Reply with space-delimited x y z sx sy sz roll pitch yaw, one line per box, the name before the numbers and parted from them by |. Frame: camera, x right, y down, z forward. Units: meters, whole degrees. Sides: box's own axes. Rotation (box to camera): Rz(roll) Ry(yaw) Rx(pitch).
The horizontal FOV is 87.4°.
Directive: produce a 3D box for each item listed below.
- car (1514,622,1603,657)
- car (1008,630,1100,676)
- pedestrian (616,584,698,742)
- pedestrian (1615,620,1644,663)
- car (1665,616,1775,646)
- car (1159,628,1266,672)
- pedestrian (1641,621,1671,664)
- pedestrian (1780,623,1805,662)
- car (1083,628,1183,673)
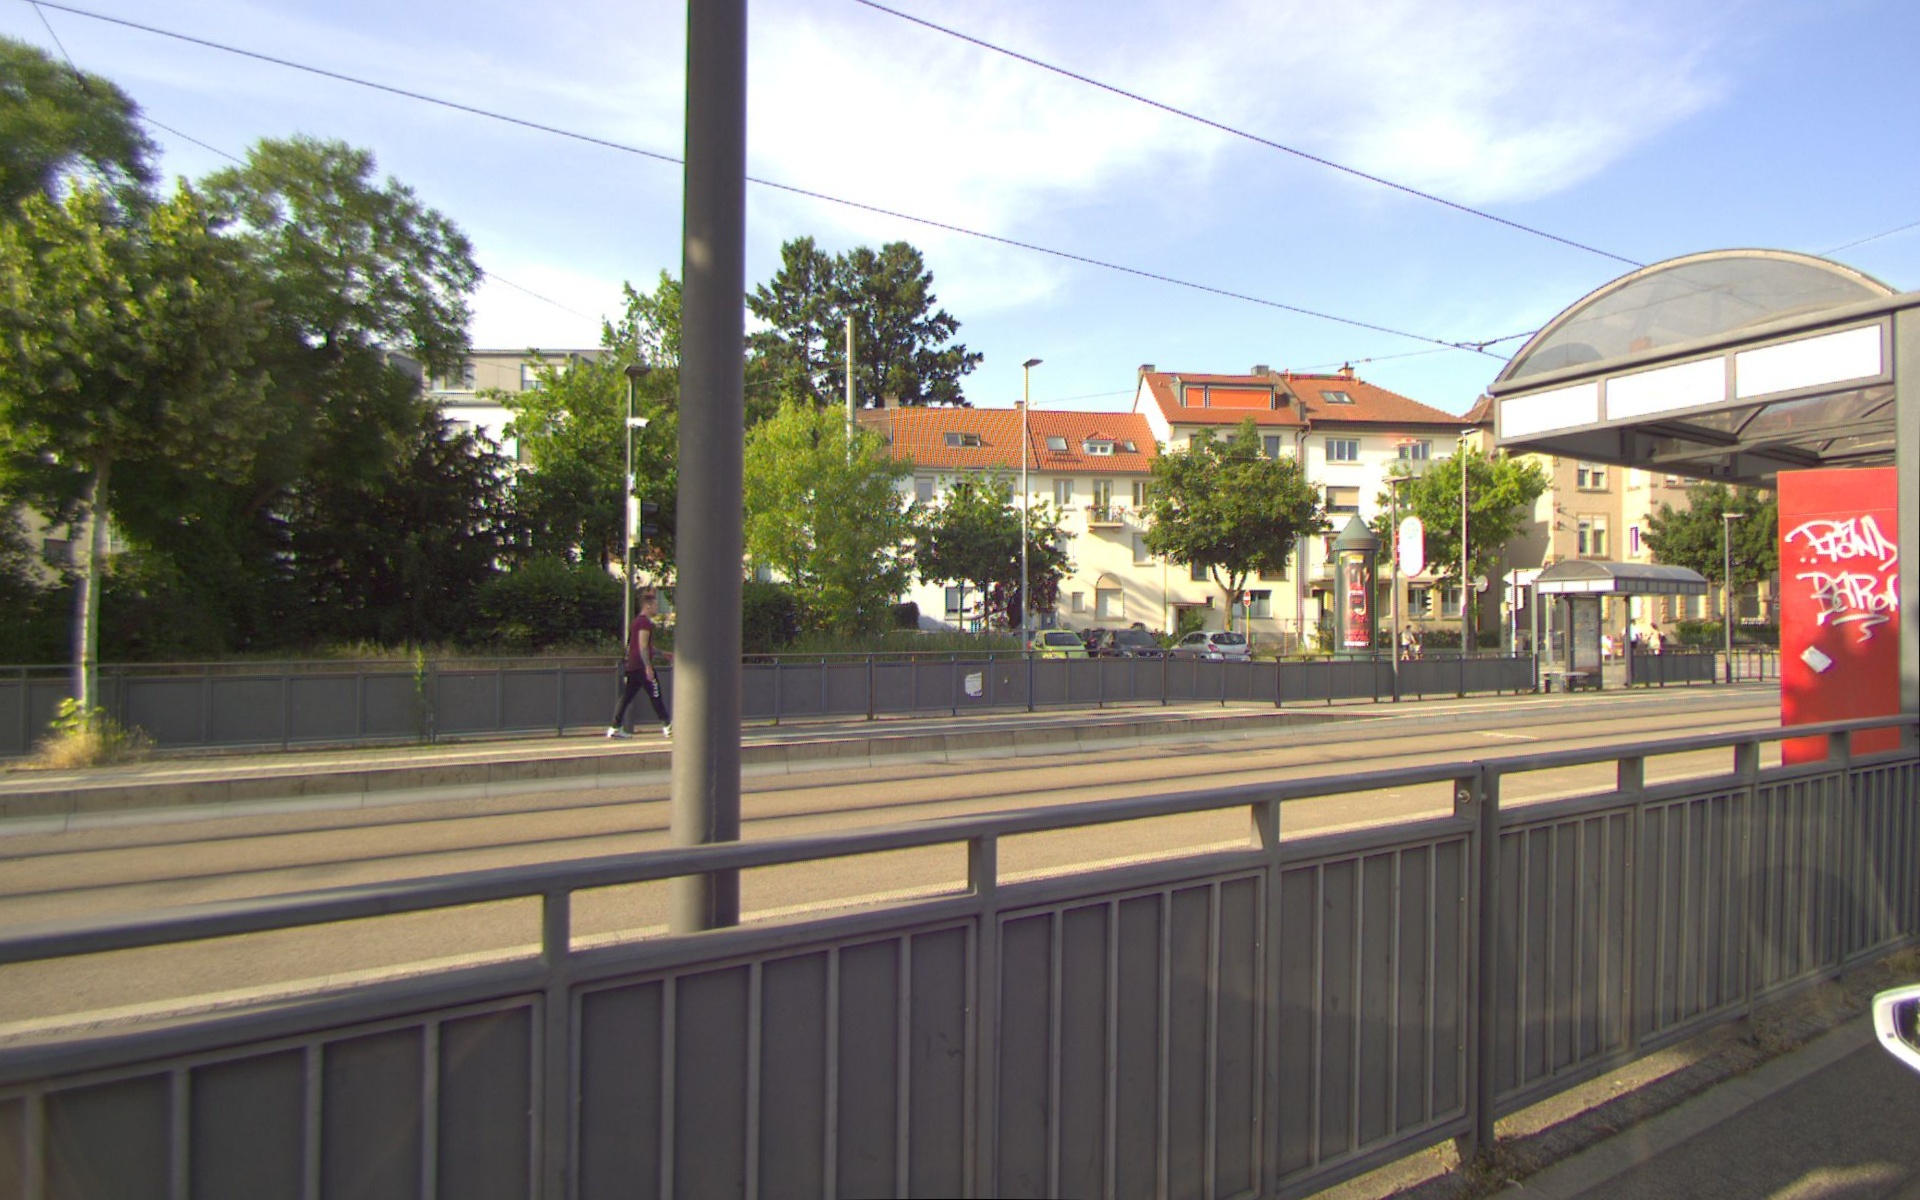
car | 32.312 2.083 54.367 1.965 1.773 3.991 0 -1 -12
car | 3.185 1.799 34.792 1.966 1.416 3.989 0 -1 -14
pedestrian | -3.540 0.712 11.713 0.763 1.756 0.832 0 -1 -30
pedestrian | 28.459 1.746 42.686 0.740 1.776 0.879 0 -1 -41
car | 41.689 1.685 55.142 4.629 1.649 2.208 0 -1 -7
car | 8.850 1.718 35.560 1.967 1.416 3.988 0 -1 -15
pedestrian | 29.087 1.754 41.994 0.740 1.776 0.879 0 -1 -41
pedestrian | 38.538 1.948 46.484 0.736 1.776 0.663 0 0 -26
car | 5.929 1.715 34.979 1.967 1.416 3.988 0 -1 -15
